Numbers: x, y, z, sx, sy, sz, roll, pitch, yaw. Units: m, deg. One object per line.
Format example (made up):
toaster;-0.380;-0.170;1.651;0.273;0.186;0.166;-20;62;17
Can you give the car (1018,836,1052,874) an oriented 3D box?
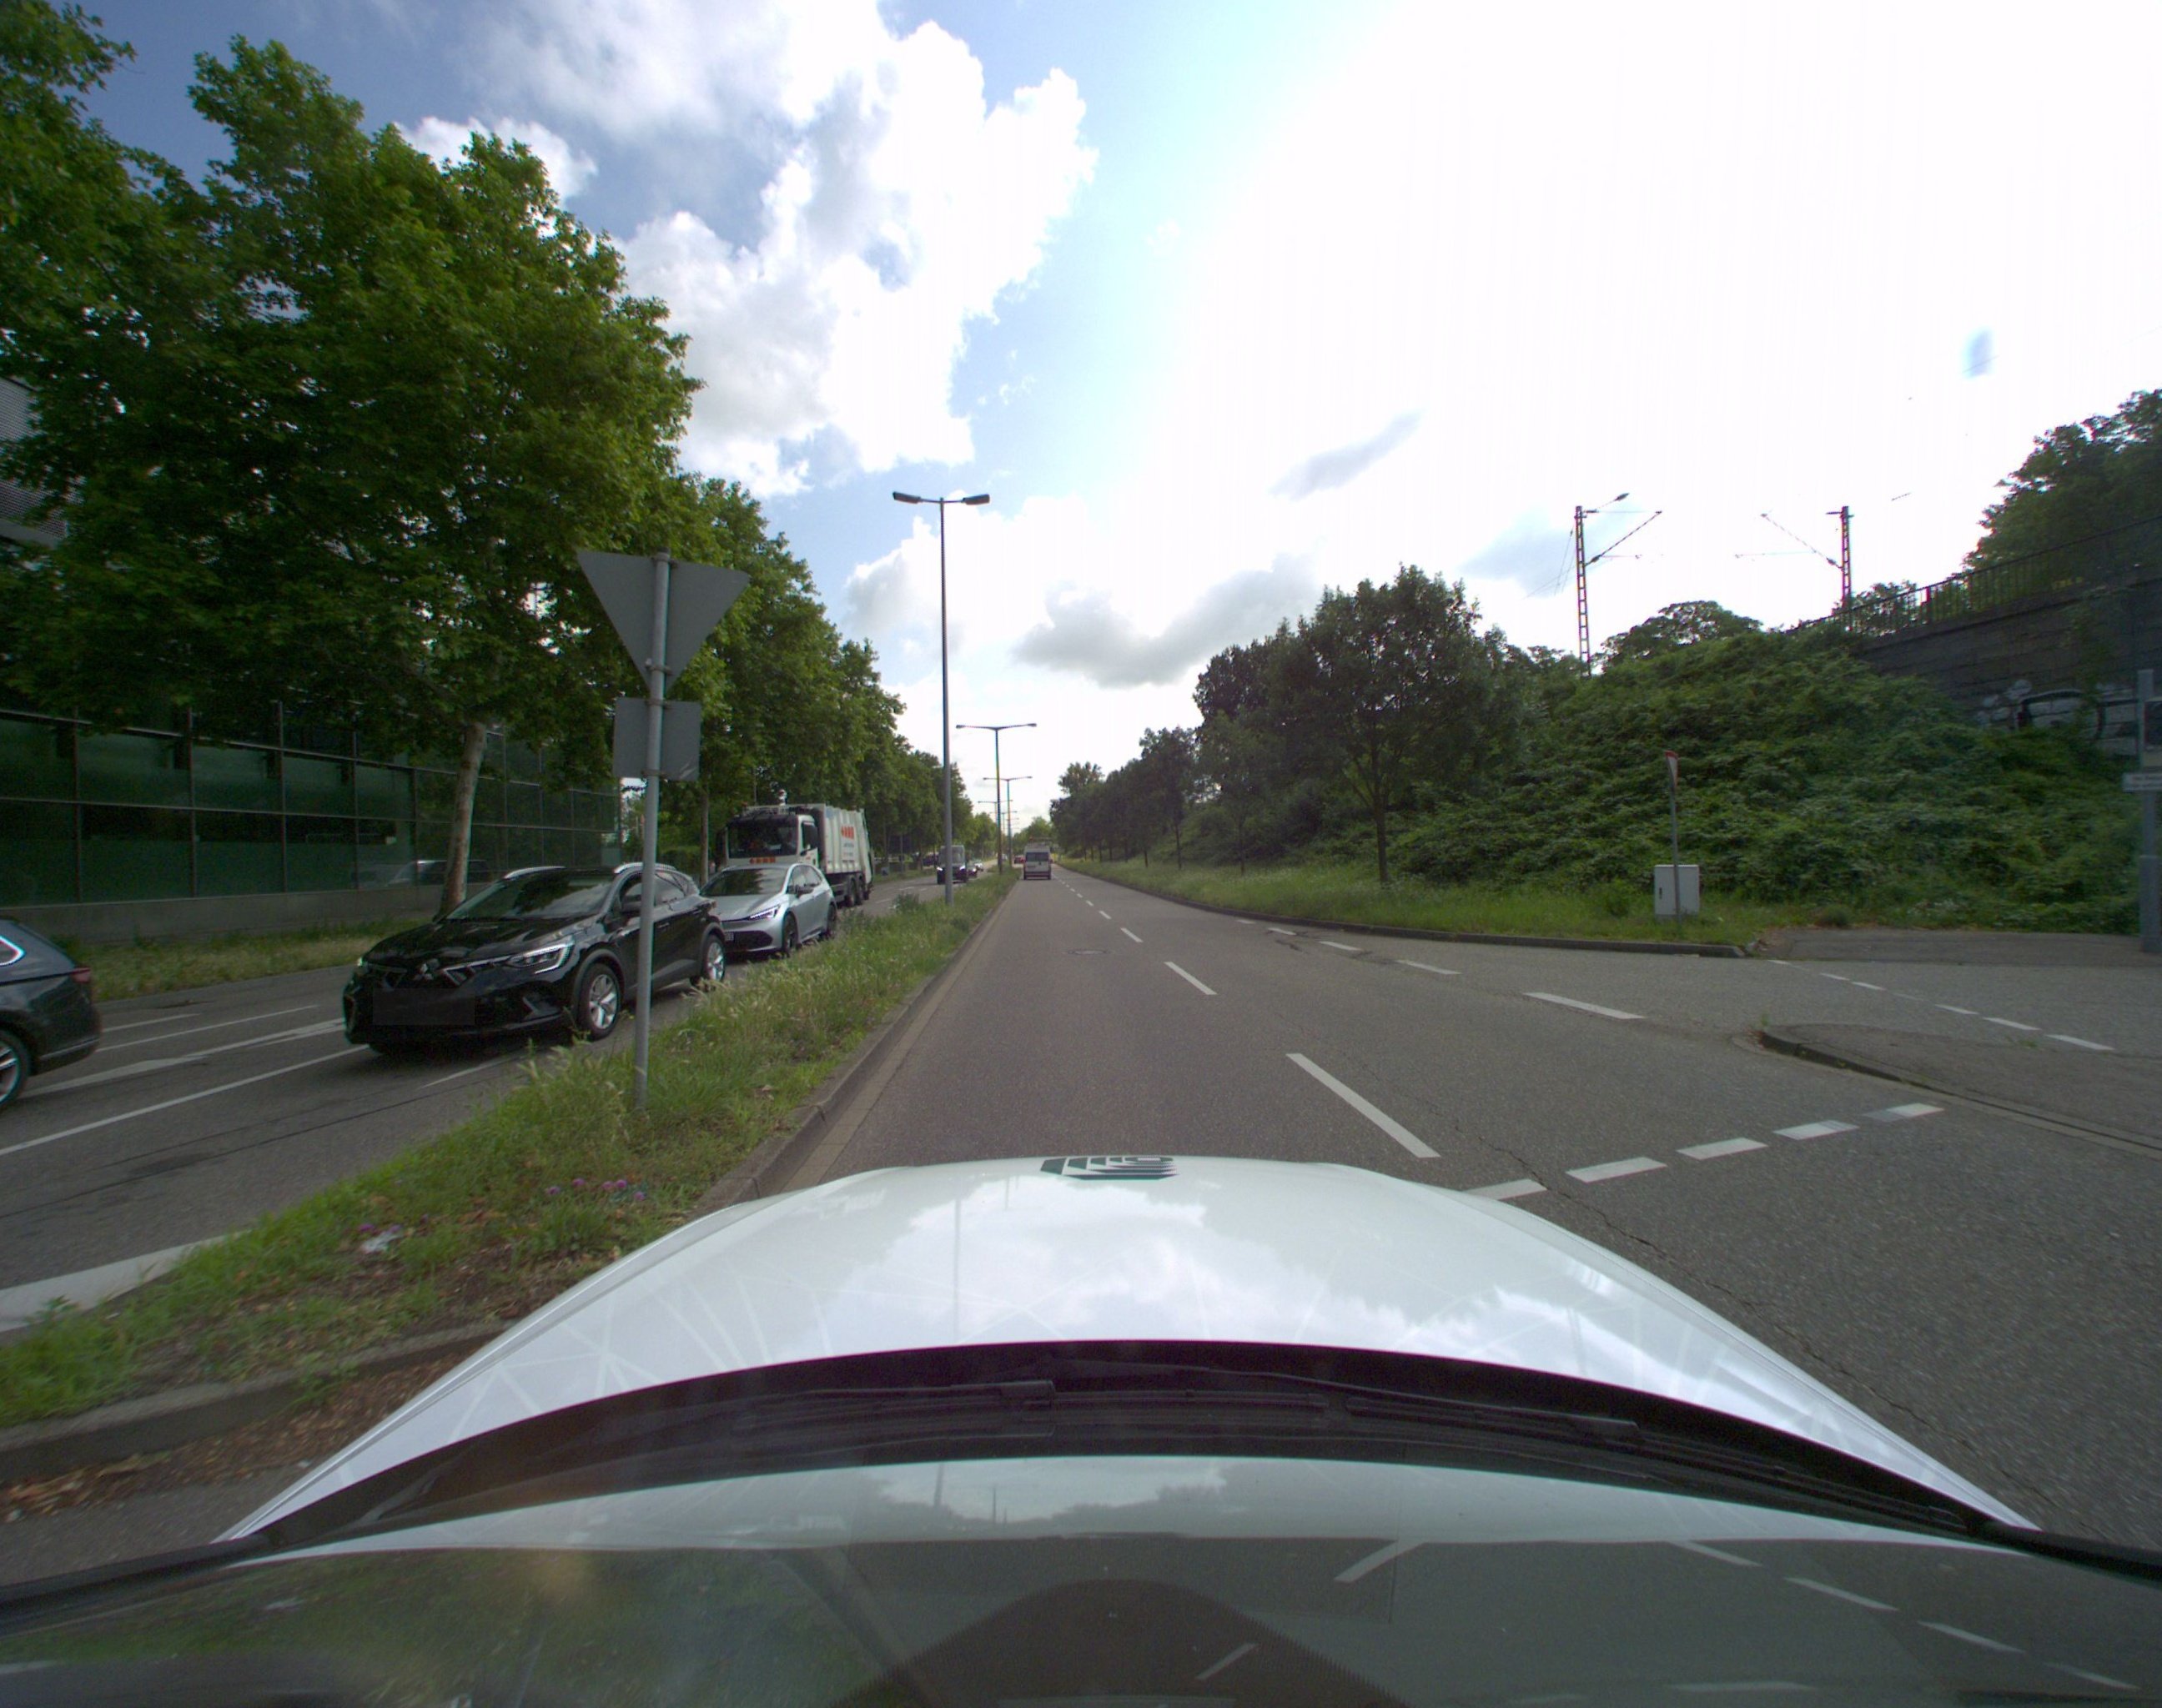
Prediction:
car;-3.515;0.017;60.962;2.195;2.726;4.920;-1;1;-7

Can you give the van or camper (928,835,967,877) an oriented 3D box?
van or camper;-9.192;0.156;56.734;2.101;2.659;6.704;-3;0;-6

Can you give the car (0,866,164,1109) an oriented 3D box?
car;-7.970;0.950;3.992;1.861;1.574;4.562;-3;1;-4

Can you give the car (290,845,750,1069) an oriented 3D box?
car;-5.098;0.750;8.310;1.703;1.587;4.358;-3;1;-2

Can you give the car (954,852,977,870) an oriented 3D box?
car;-10.124;0.636;71.564;1.691;1.464;3.933;-3;0;-5

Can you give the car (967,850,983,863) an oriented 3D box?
car;-14.193;0.332;109.463;1.811;1.640;4.343;-4;0;-6

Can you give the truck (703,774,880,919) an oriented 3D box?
truck;-9.301;-0.238;27.734;2.644;3.887;10.149;-4;0;-3

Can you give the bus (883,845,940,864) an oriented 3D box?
bus;-35.605;0.039;171.230;12.183;3.274;3.138;-4;0;26

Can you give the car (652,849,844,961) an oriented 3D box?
car;-5.617;0.778;14.355;1.741;1.552;4.228;-4;0;-3
